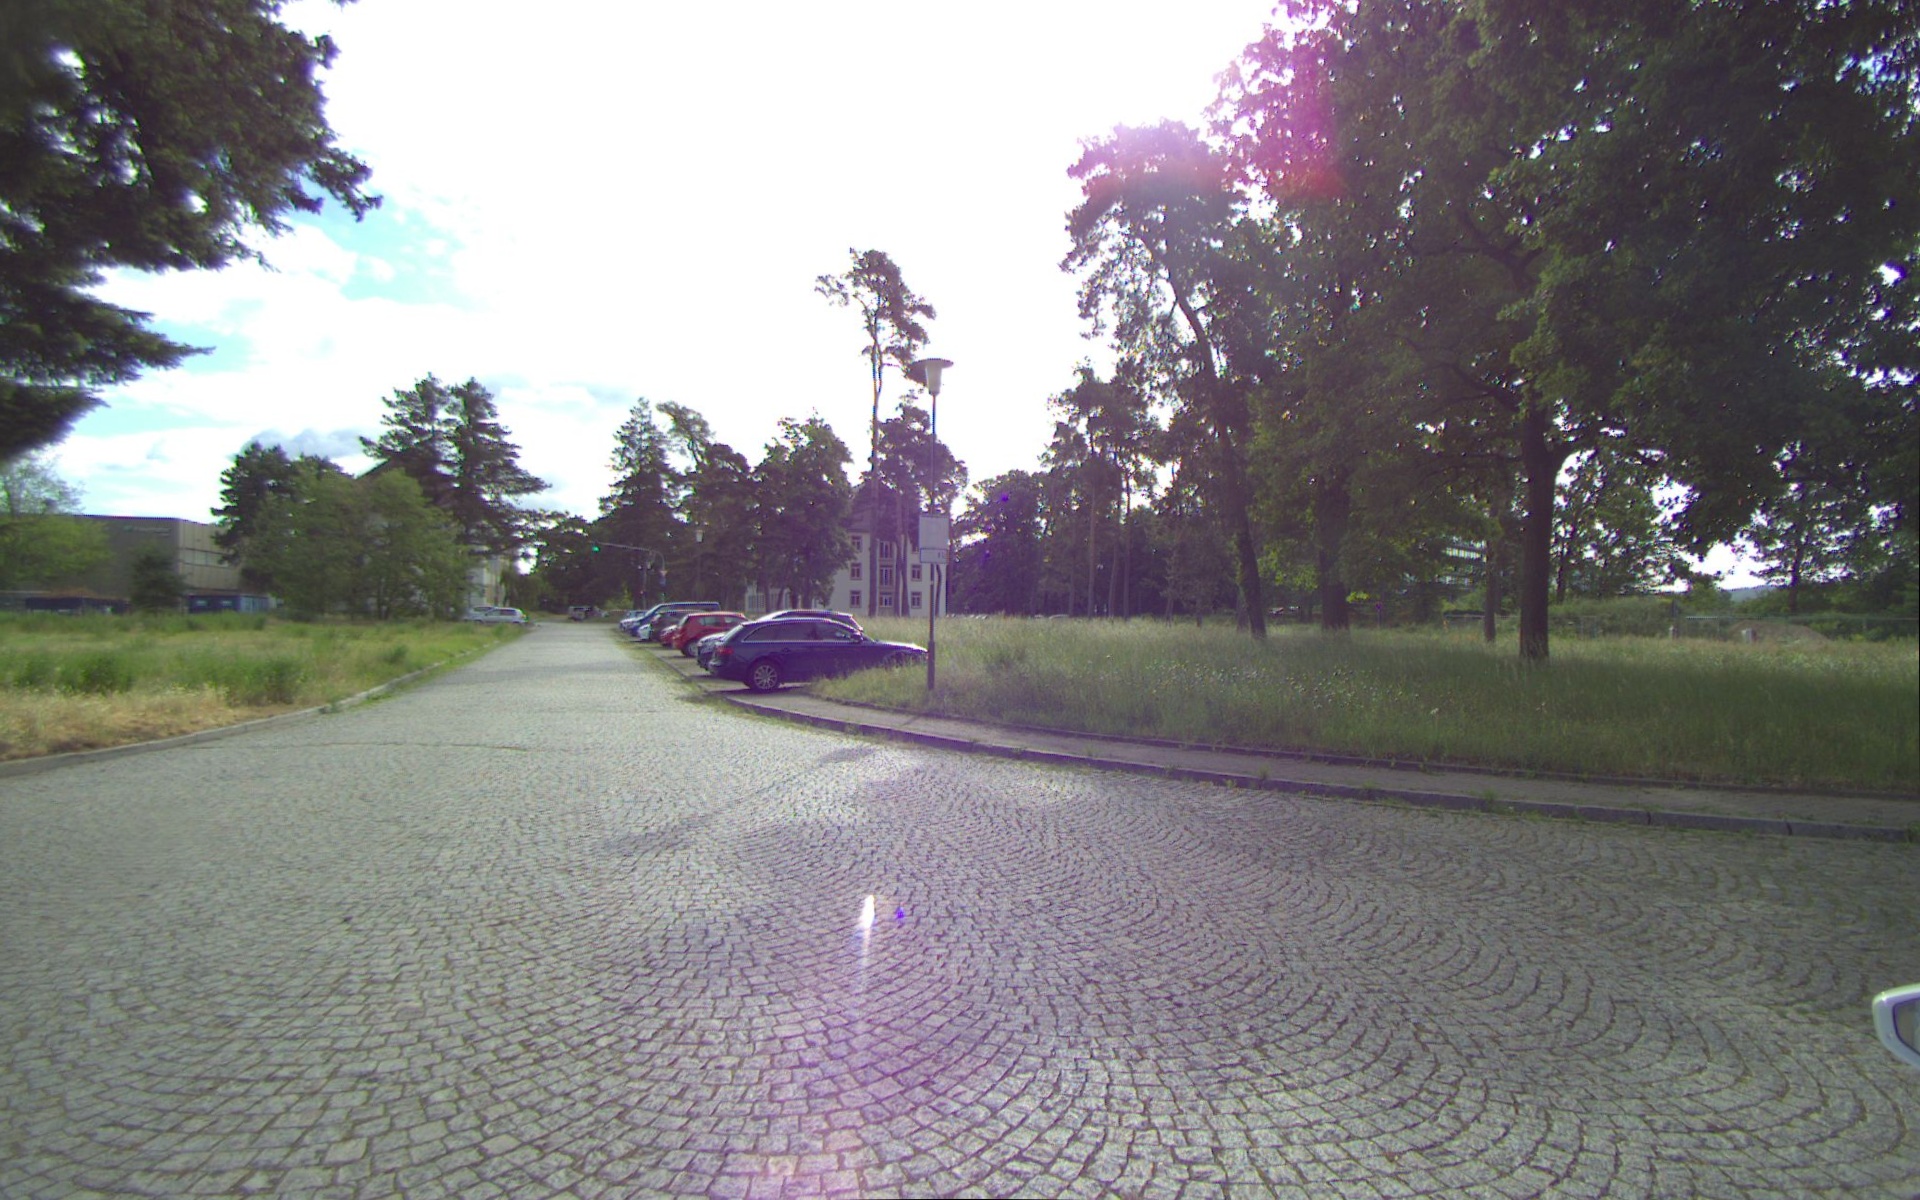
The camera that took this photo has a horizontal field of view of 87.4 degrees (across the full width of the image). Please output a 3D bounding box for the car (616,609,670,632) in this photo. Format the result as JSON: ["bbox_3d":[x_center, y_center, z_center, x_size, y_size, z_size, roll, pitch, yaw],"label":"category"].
[{"bbox_3d":[-22.769,1.448,72.178,3.523,1.478,1.617,-2,1,-24],"label":"car"}]

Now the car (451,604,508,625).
[{"bbox_3d":[-35.668,1.069,74.586,3.686,1.457,1.614,-2,1,-29],"label":"car"}]

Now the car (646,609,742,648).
[{"bbox_3d":[-11.775,1.266,44.410,3.864,1.625,1.810,1,-1,-24],"label":"car"}]

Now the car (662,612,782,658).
[{"bbox_3d":[-8.199,1.159,34.638,3.839,1.498,1.663,0,0,-22],"label":"car"}]

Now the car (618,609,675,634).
[{"bbox_3d":[-21.671,1.464,69.450,3.530,1.507,1.590,-2,2,-29],"label":"car"}]

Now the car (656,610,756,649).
[{"bbox_3d":[-10.596,1.222,41.956,3.895,1.540,1.699,0,-1,-21],"label":"car"}]

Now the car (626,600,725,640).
[{"bbox_3d":[-14.903,1.008,52.638,4.767,1.891,2.149,-2,1,-23],"label":"car"}]

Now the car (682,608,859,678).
[{"bbox_3d":[-4.745,1.030,25.166,4.091,1.594,1.780,0,1,-22],"label":"car"}]

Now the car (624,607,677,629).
[{"bbox_3d":[-23.037,1.357,74.783,3.415,1.451,1.615,-2,2,-31],"label":"car"}]

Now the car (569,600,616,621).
[{"bbox_3d":[-49.743,1.414,135.954,5.723,2.597,2.751,-2,1,-27],"label":"car"}]

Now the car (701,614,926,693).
[{"bbox_3d":[-3.010,1.037,20.605,4.375,1.499,1.676,0,0,-18],"label":"car"}]

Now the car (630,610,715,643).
[{"bbox_3d":[-14.390,1.312,50.271,3.876,1.411,1.733,-2,1,-23],"label":"car"}]

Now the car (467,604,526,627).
[{"bbox_3d":[-32.338,1.048,70.119,3.681,1.457,1.616,-1,1,-25],"label":"car"}]
